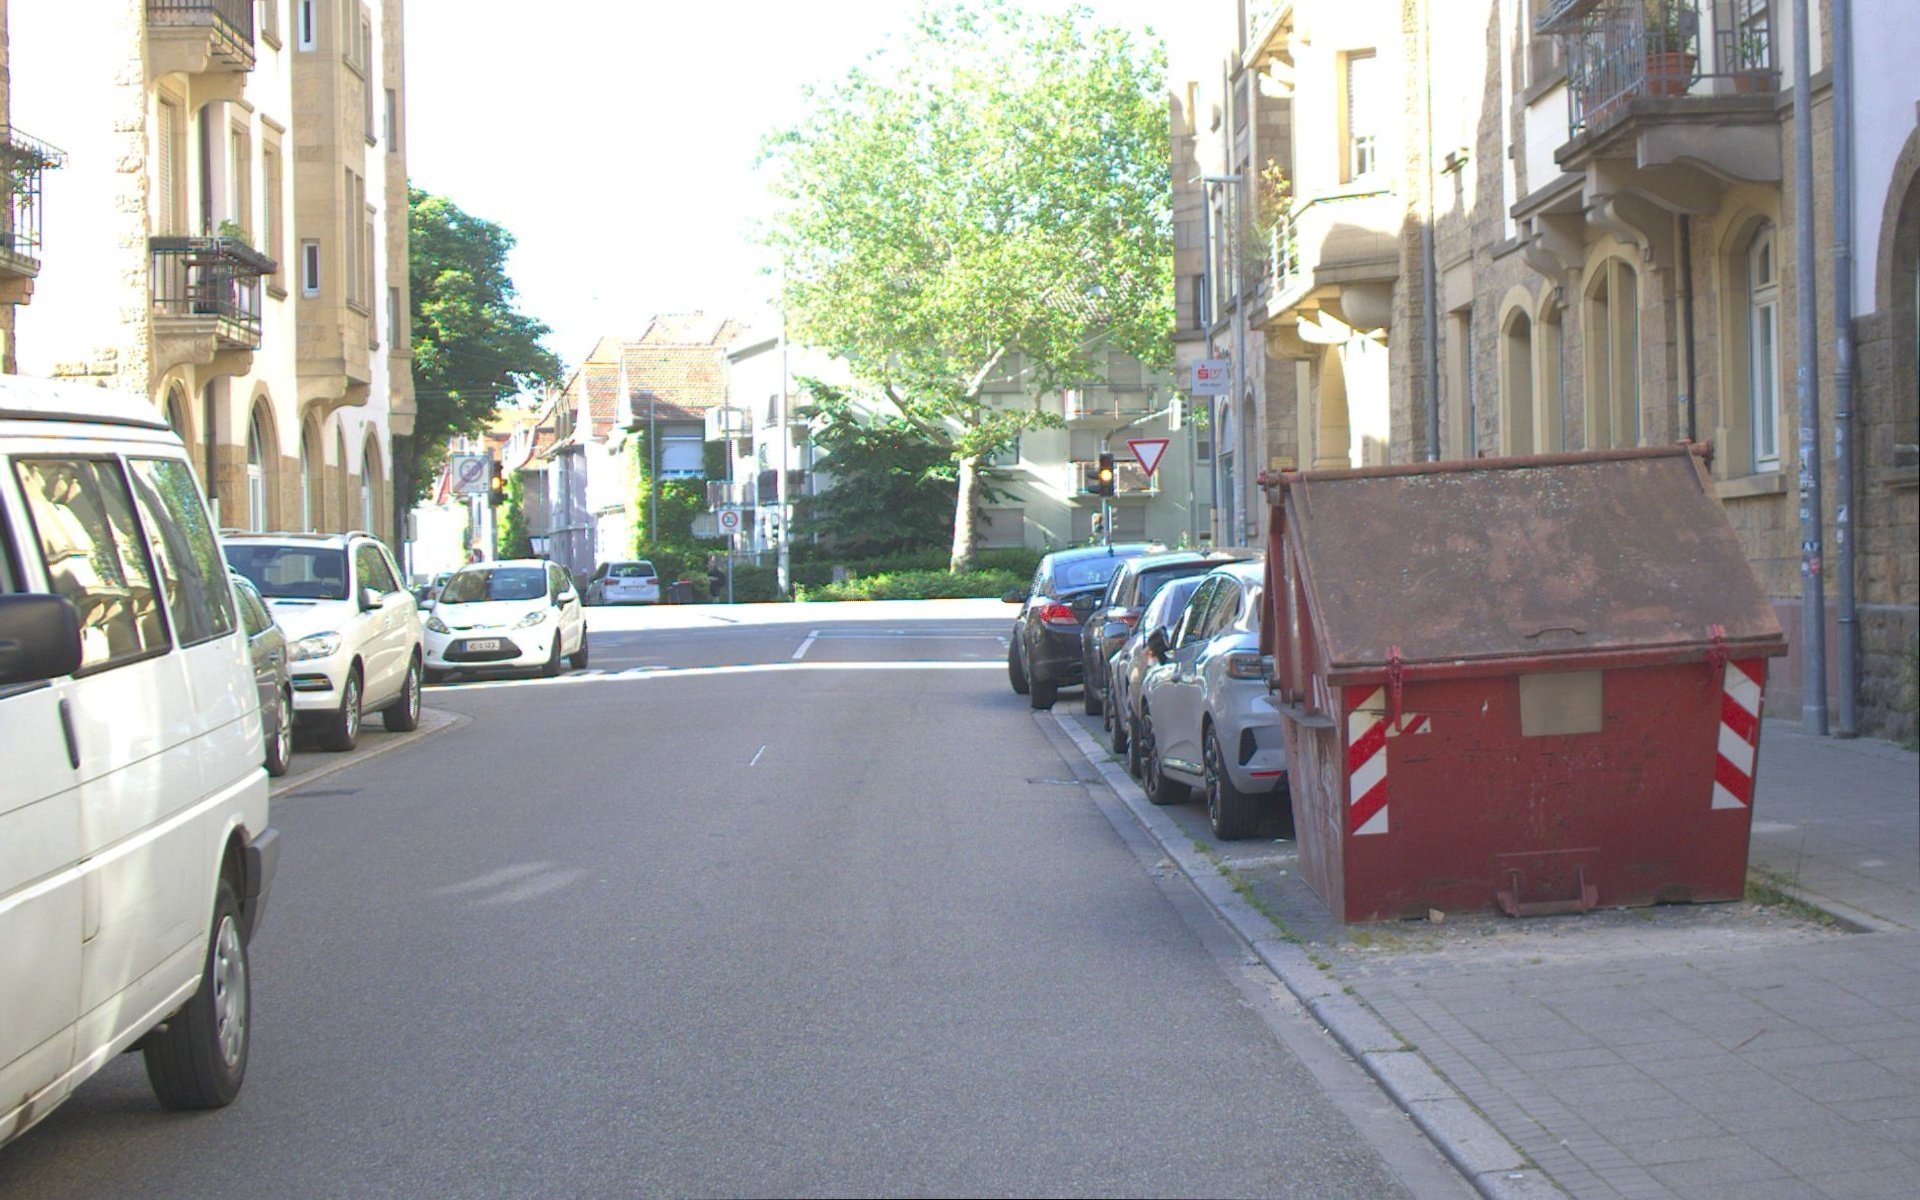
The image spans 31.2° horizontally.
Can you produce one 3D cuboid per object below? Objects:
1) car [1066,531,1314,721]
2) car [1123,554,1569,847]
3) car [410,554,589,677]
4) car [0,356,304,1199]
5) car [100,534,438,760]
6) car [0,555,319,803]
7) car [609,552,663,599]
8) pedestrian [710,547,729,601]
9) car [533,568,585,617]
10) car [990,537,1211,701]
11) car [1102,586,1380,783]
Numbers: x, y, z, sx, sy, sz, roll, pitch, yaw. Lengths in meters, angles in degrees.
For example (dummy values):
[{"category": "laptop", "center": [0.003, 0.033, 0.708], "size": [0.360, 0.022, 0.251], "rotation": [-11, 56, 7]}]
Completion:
[{"category": "car", "center": [1.880, 0.164, 29.206], "size": [1.651, 1.437, 4.259], "rotation": [-2, 1, -2]}, {"category": "car", "center": [2.041, 0.479, 19.219], "size": [1.786, 1.425, 3.808], "rotation": [-1, 1, -4]}, {"category": "car", "center": [-5.797, 0.163, 43.621], "size": [1.634, 1.459, 3.734], "rotation": [-1, 1, 2]}, {"category": "car", "center": [-2.900, 0.463, 7.986], "size": [1.863, 1.930, 4.600], "rotation": [-1, 1, 0]}, {"category": "car", "center": [-5.667, 0.322, 28.754], "size": [1.892, 1.716, 4.726], "rotation": [0, 1, 0]}, {"category": "car", "center": [-5.497, 0.457, 23.159], "size": [1.573, 1.482, 4.280], "rotation": [0, 1, 0]}, {"category": "car", "center": [-10.338, -0.766, 109.609], "size": [1.673, 1.477, 3.522], "rotation": [0, 0, -6]}, {"category": "pedestrian", "center": [-7.842, -0.838, 112.125], "size": [0.633, 1.744, 0.659], "rotation": [0, 0, -3]}, {"category": "car", "center": [-17.119, -0.338, 146.607], "size": [1.993, 2.007, 4.001], "rotation": [-2, 1, -9]}, {"category": "car", "center": [1.316, 0.139, 33.819], "size": [1.865, 1.457, 4.340], "rotation": [-2, 1, -1]}, {"category": "car", "center": [1.904, 0.540, 24.302], "size": [1.693, 1.250, 3.941], "rotation": [1, 0, 1]}]
